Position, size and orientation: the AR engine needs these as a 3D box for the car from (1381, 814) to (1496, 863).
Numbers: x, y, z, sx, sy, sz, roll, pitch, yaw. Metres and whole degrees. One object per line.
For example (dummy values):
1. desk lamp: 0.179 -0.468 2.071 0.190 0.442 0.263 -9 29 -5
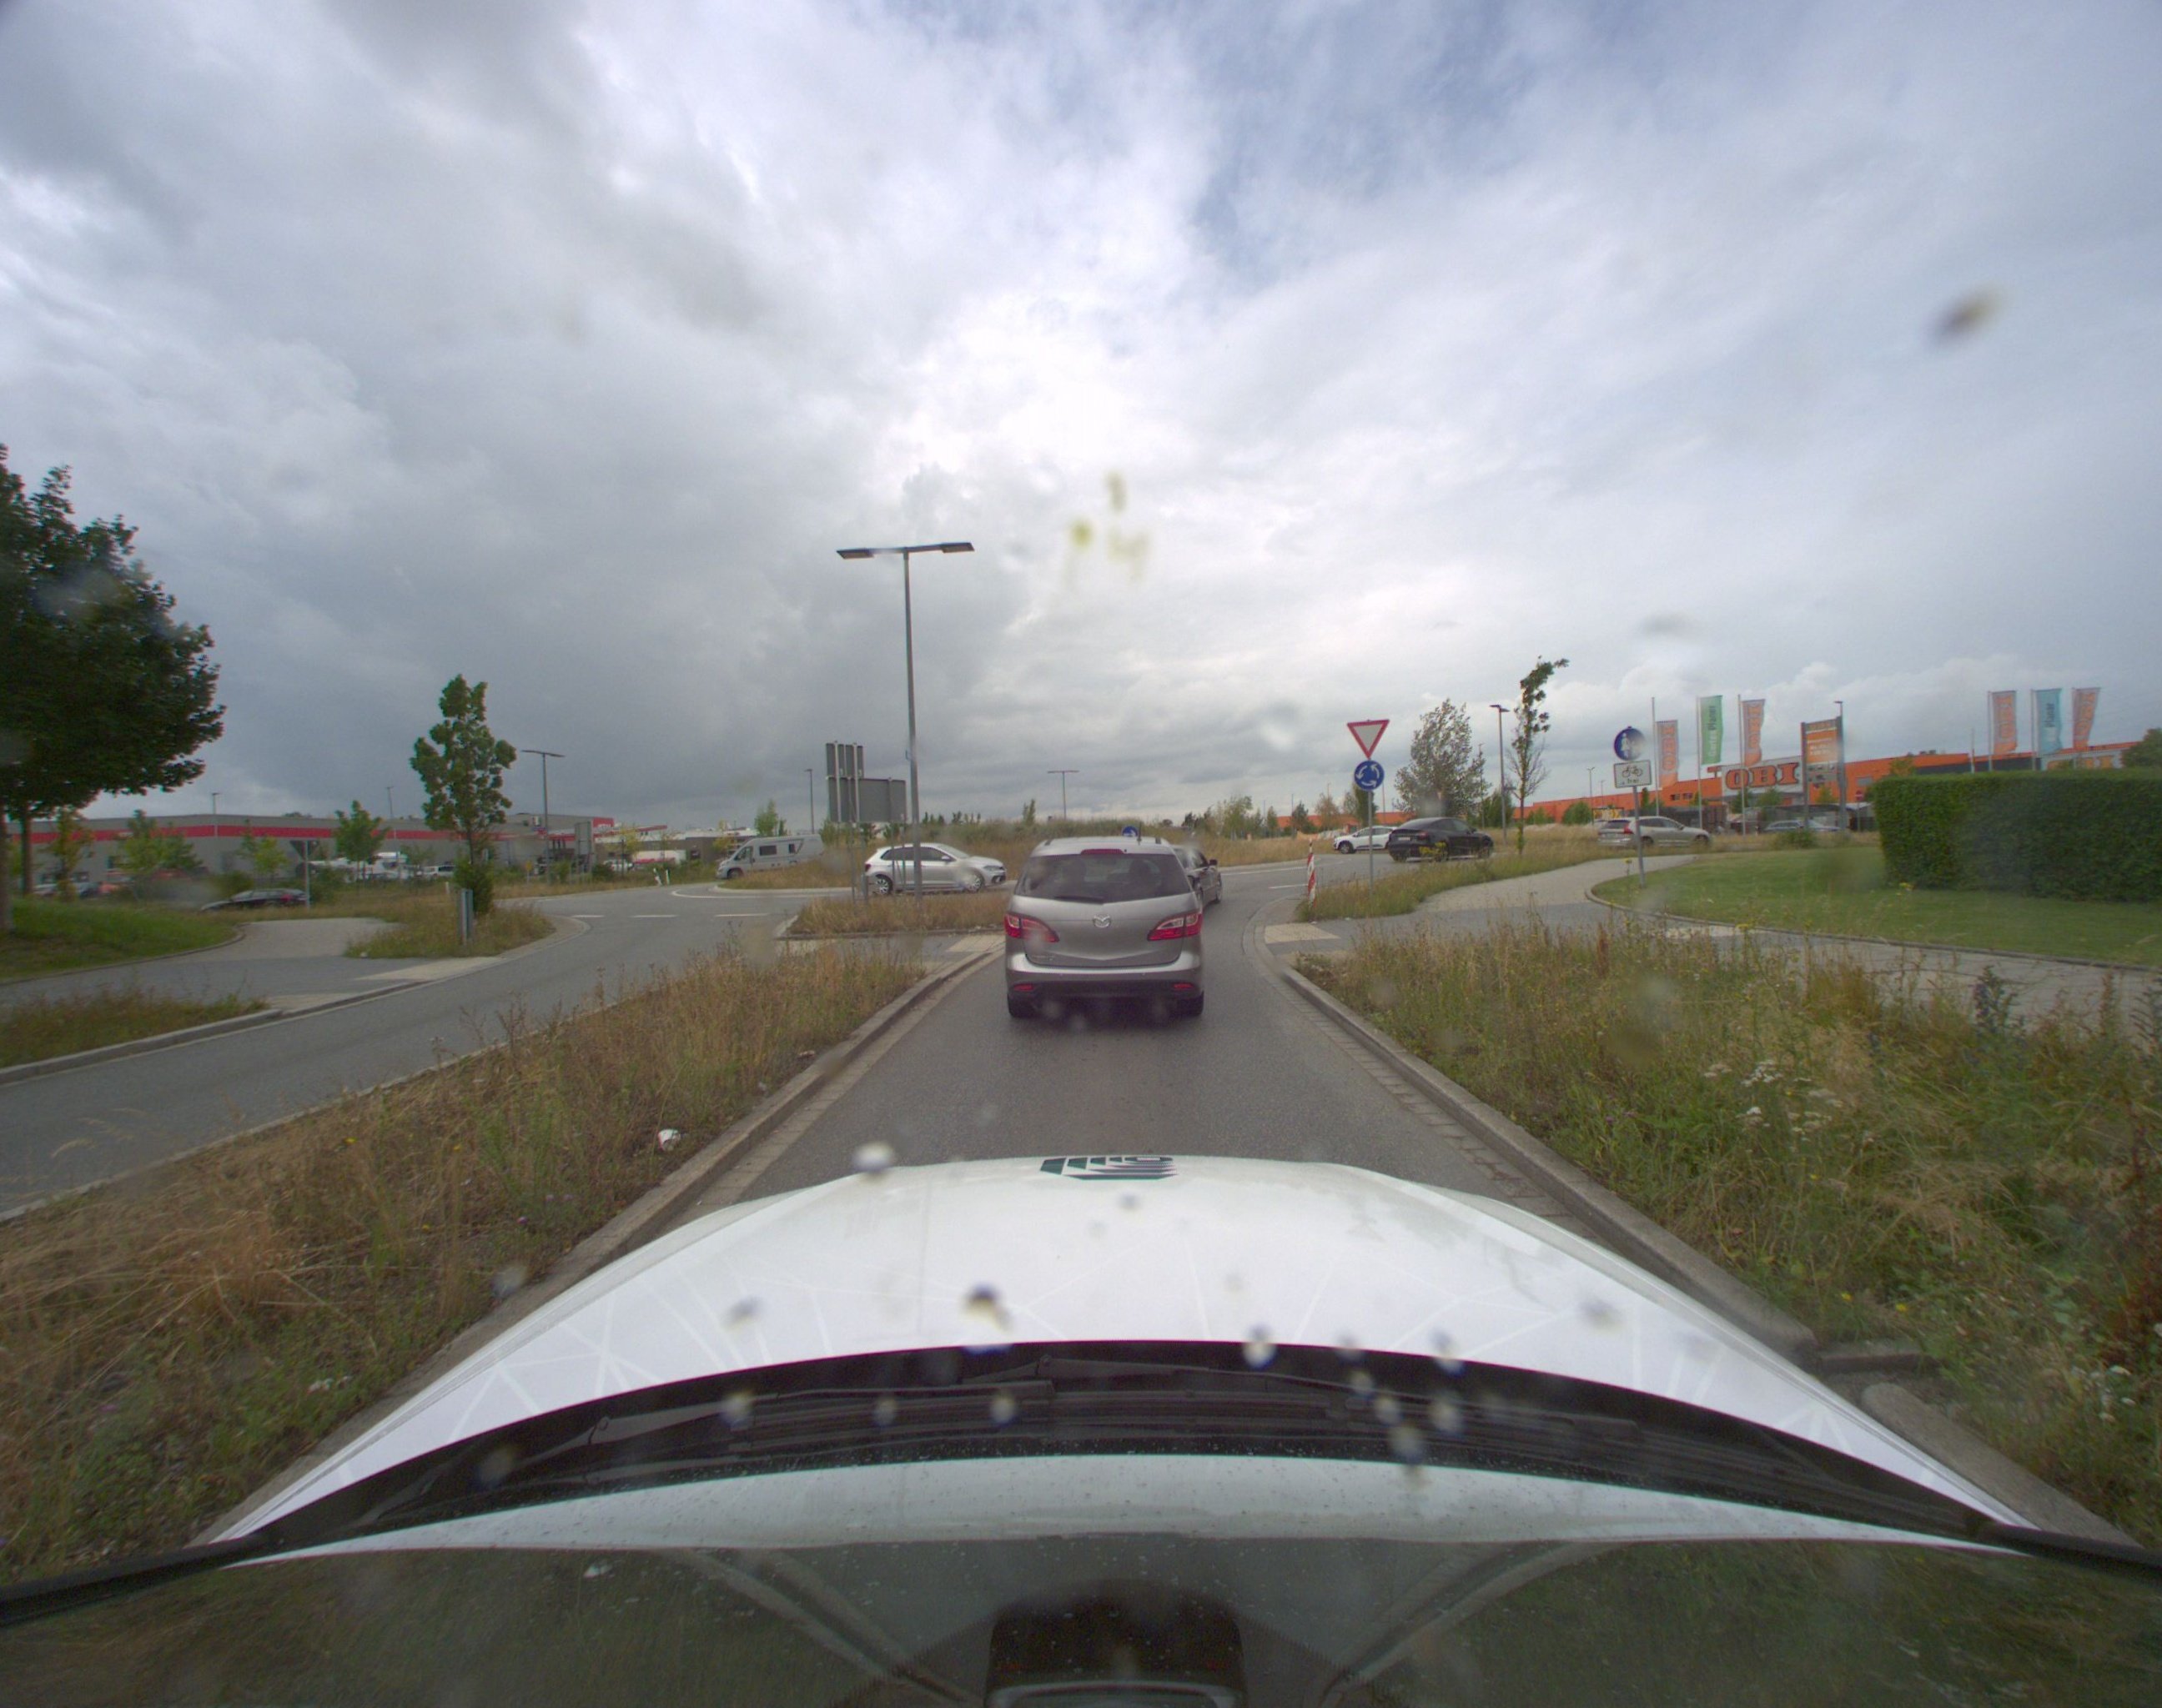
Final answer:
1. car: 13.380 -0.599 30.319 4.800 1.498 1.922 -5 3 -39

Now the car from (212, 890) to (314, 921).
1. car: -41.488 2.611 41.342 3.818 1.325 1.472 -2 0 4

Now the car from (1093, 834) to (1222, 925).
1. car: 1.616 0.389 15.796 1.724 1.403 4.016 0 3 16

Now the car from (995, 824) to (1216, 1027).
1. car: 0.232 0.531 8.455 1.732 1.598 3.999 -1 1 1

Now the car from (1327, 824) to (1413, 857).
1. car: 16.249 -0.757 45.794 4.286 1.648 1.882 -2 2 27

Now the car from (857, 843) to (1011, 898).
1. car: -4.131 0.460 23.226 3.969 1.464 1.815 -1 -1 4

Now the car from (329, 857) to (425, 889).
1. car: -66.246 1.757 76.909 2.455 2.820 7.687 -1 -1 0

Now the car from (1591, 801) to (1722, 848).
1. car: 24.951 -1.288 35.351 4.764 1.738 1.936 -4 2 -13

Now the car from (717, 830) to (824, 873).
1. car: -18.367 -0.132 48.195 5.723 2.387 2.261 0 -1 -27
